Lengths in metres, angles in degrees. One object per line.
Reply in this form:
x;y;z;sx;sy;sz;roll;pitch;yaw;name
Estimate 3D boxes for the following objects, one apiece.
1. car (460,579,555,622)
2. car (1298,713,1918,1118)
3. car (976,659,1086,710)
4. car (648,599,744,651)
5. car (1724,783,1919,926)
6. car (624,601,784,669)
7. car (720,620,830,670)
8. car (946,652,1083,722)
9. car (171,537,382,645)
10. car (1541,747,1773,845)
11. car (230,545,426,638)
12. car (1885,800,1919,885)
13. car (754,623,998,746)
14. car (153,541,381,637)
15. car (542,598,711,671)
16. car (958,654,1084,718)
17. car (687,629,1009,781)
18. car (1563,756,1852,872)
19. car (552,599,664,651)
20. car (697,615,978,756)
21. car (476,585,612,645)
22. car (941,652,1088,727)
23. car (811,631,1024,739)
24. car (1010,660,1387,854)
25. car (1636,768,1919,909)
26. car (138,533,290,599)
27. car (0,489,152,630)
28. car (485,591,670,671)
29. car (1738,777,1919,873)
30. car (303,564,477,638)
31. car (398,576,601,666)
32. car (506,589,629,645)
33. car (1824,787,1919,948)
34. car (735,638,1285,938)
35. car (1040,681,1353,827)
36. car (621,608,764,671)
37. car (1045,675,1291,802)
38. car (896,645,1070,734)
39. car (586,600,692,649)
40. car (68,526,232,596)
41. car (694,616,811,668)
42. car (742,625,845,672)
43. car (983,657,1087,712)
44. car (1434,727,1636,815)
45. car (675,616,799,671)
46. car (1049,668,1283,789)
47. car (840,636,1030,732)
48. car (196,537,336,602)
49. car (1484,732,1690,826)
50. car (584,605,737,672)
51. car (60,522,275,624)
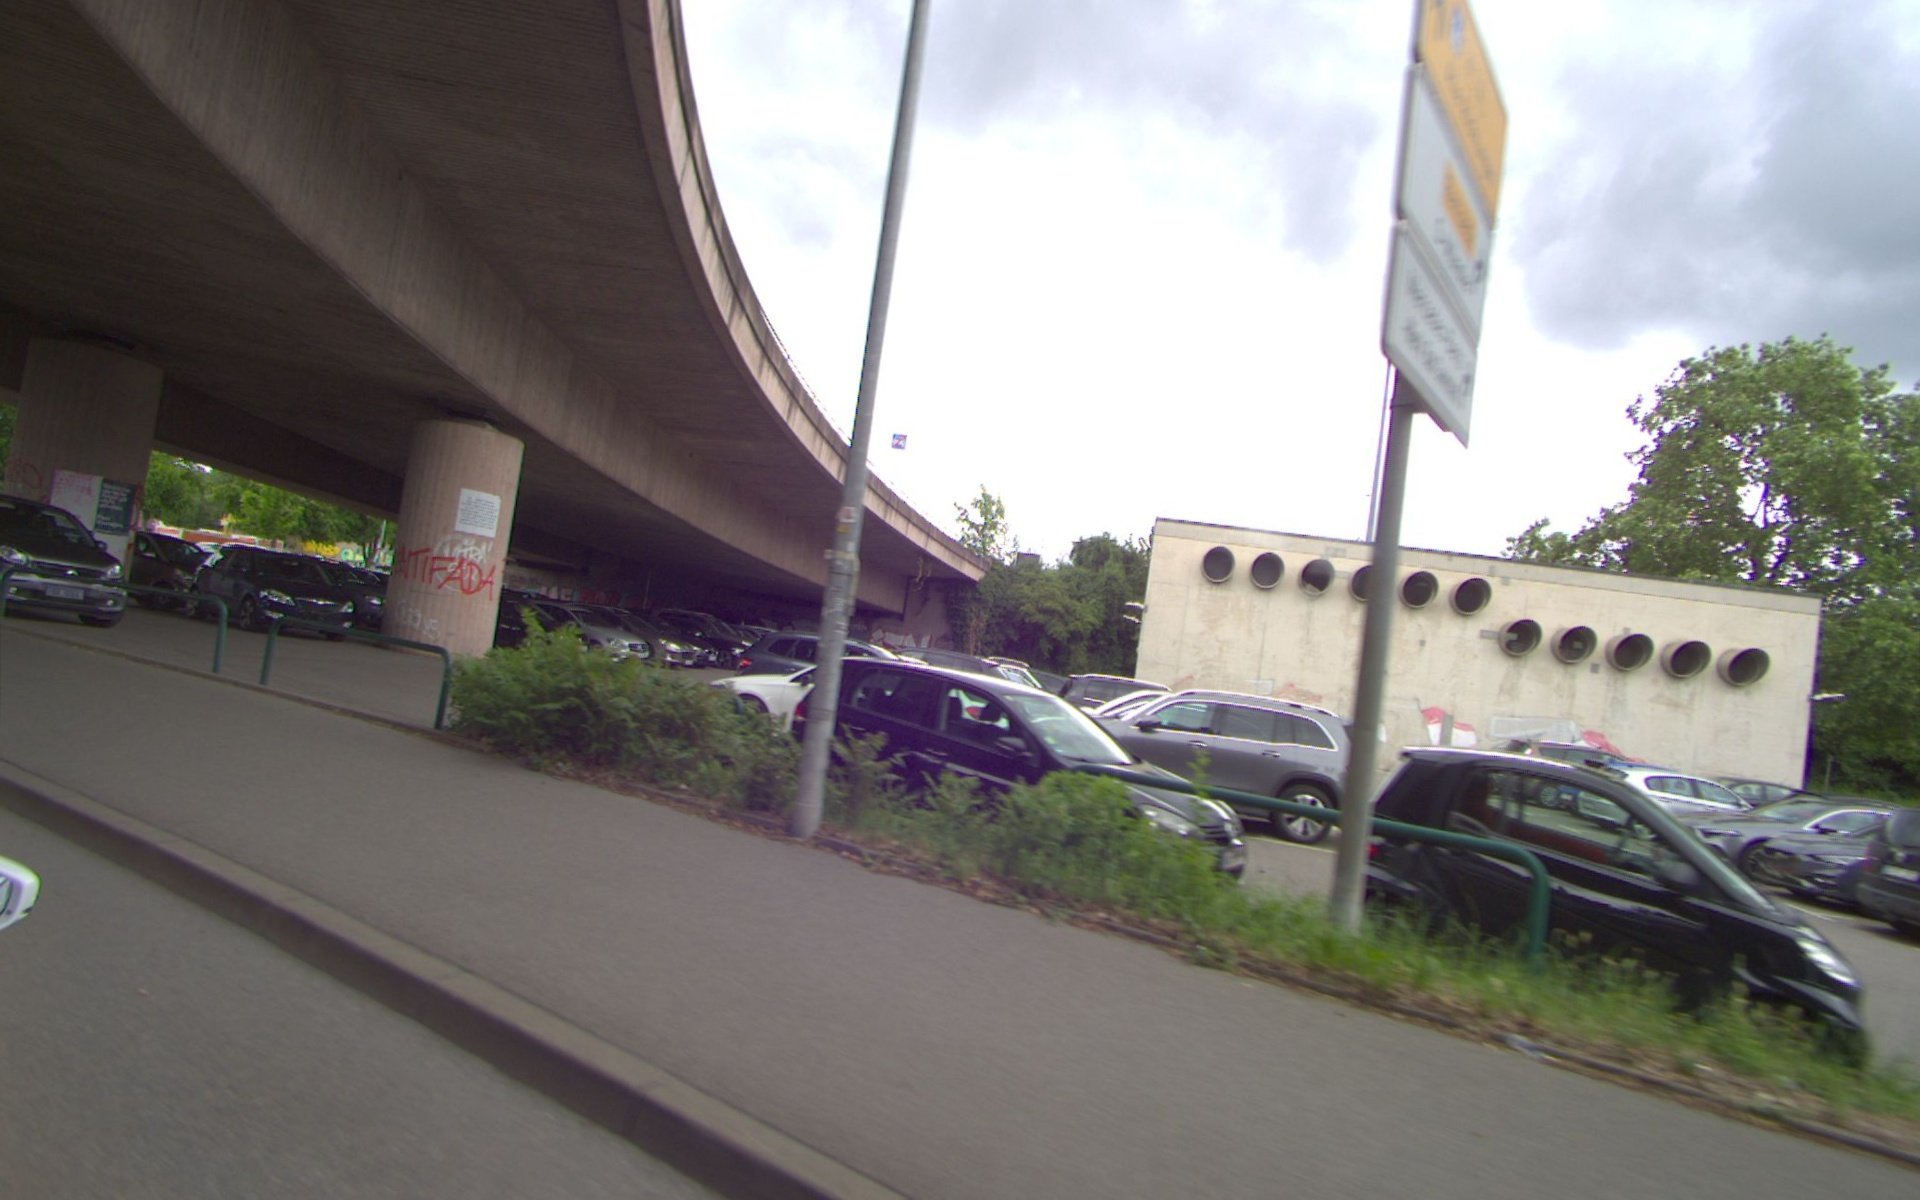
-22.556;0.030;50.265;3.790;1.495;1.760;8;-2;4;car
3.731;1.663;6.144;2.717;1.495;1.542;6;-3;34;car
2.895;3.398;40.527;4.112;1.424;1.842;8;-2;10;car
-12.106;1.175;46.250;3.593;1.808;1.887;8;-2;10;car
13.686;3.730;13.879;4.532;1.459;1.862;8;-2;11;car
-9.222;1.283;36.407;5.009;1.695;2.095;8;-2;10;car
-7.910;1.946;43.186;4.112;1.482;1.842;8;-2;10;car
1.822;2.838;32.999;4.112;1.610;1.841;8;-2;10;car
-12.853;-0.189;18.880;3.797;1.522;1.790;5;-5;33;car
15.958;4.468;23.236;3.900;1.408;1.772;8;-2;11;car
-16.025;-0.193;25.585;3.788;1.717;1.841;8;-2;10;car
19.679;4.763;17.861;4.357;1.441;1.842;8;-2;13;car
-1.528;1.572;19.071;4.112;1.610;1.841;8;-2;10;car
-16.057;-0.251;23.382;4.297;1.485;1.843;8;-4;14;car
-9.645;1.020;29.227;4.112;1.482;1.842;8;-2;10;car
2.197;3.028;35.537;4.112;1.610;1.841;8;-2;10;car
-1.524;1.464;14.504;4.112;1.437;1.842;8;-2;10;car
15.309;4.357;20.852;4.351;1.408;1.788;8;-2;11;car
-13.683;0.973;39.175;3.593;1.443;1.682;8;-2;10;car
-1.967;1.385;16.738;4.112;1.610;1.841;8;-2;10;car
-14.355;0.542;34.800;3.788;1.443;1.842;8;-2;10;car
1.703;2.689;30.648;4.112;1.610;1.841;8;-2;10;car
-0.861;1.800;21.636;4.112;1.610;1.841;8;-2;10;car
3.035;1.973;13.326;4.385;1.693;1.749;8;-2;10;car
13.977;3.905;16.297;4.532;1.459;1.862;8;-2;11;car
-25.615;-1.149;34.631;3.790;1.572;1.760;8;-2;4;car
-12.905;-0.658;13.456;3.347;1.549;1.615;7;-4;21;car
-10.214;0.851;26.985;4.112;1.482;1.842;8;-2;10;car
20.487;5.149;22.527;4.357;1.441;1.842;8;-2;13;car
-15.826;0.050;28.022;3.788;1.443;1.842;8;-2;10;car
-11.381;0.552;24.986;4.112;1.567;1.841;8;-2;10;car
-14.497;0.646;37.260;3.788;1.443;1.682;8;-2;10;car
13.260;3.468;11.625;4.532;1.646;1.862;8;-2;11;car
0.301;1.369;8.432;4.182;1.495;1.733;6;-3;34;car
3.588;2.321;15.752;4.374;1.465;1.760;8;-2;10;car
-9.017;1.343;34.062;4.112;1.482;1.842;8;-2;10;car
3.712;2.444;18.276;4.009;1.574;1.760;8;-2;10;car
0.646;2.301;26.110;4.112;1.610;1.841;8;-2;10;car
-13.143;1.003;41.280;3.593;1.443;1.682;8;-2;10;car
-25.986;-1.225;32.350;3.790;1.572;1.701;8;-2;4;car
-8.366;1.720;40.742;4.112;1.482;1.842;8;-2;10;car
-7.523;2.209;45.633;4.112;1.482;1.842;8;-2;10;car
3.238;3.579;42.965;4.112;1.707;1.841;8;-2;10;car
15.875;4.694;27.986;4.403;1.550;1.772;8;-2;11;car
-8.509;1.685;38.584;4.112;1.482;1.842;8;-2;10;car
4.171;2.576;20.718;4.347;1.710;1.760;8;-2;10;car
-0.542;1.980;24.101;4.112;1.610;1.841;8;-2;10;car
-25.377;-1.093;36.863;3.790;1.713;1.760;8;-2;4;car
15.737;4.470;25.440;3.900;1.550;1.772;8;-2;11;car
-9.427;1.241;31.805;4.112;1.482;1.842;8;-2;10;car
-16.553;-0.548;21.078;3.310;1.515;1.535;8;-4;10;car
